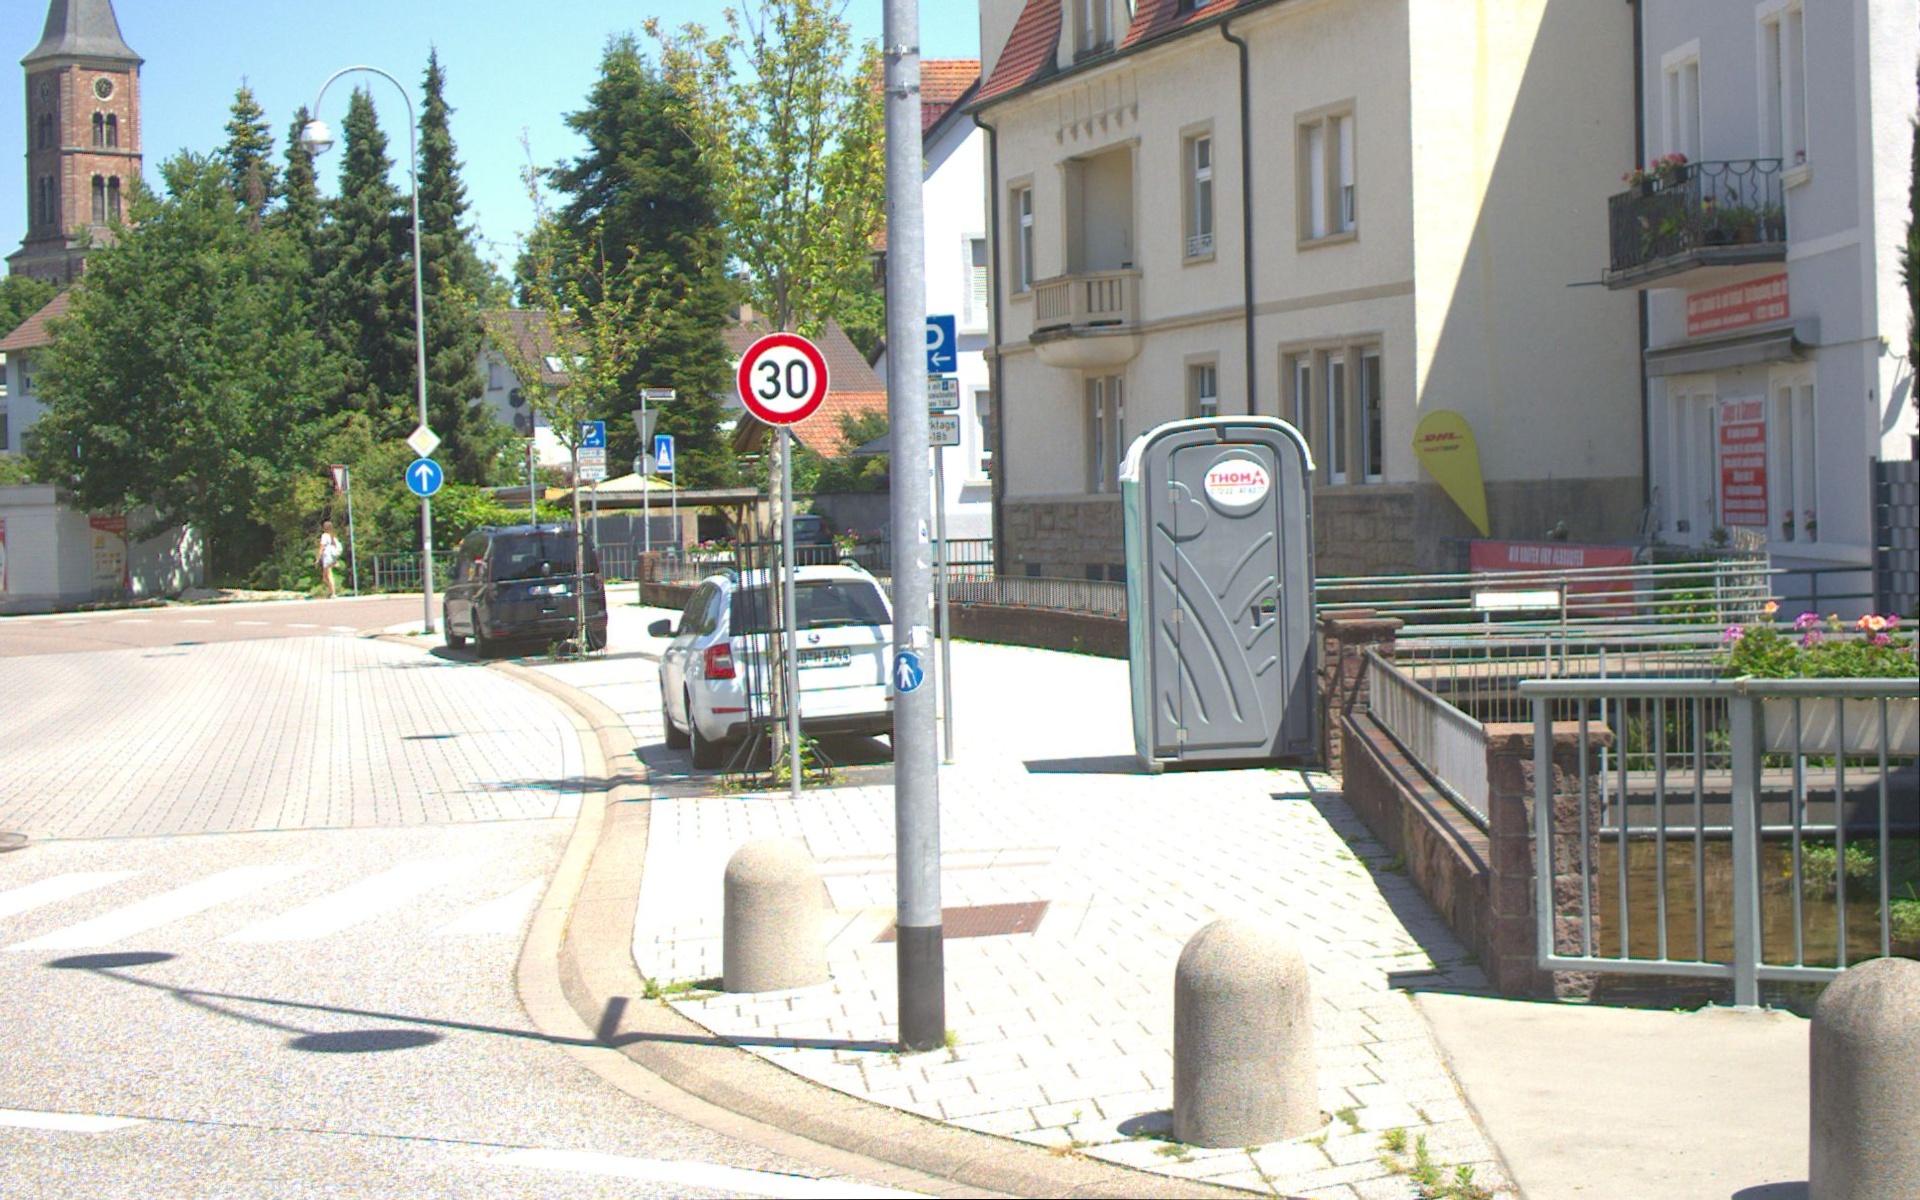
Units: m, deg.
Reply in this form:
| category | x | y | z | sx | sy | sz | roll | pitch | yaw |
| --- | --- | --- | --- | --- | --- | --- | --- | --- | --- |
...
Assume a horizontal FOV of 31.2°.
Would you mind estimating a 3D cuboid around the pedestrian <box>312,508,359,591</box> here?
| category | x | y | z | sx | sy | sz | roll | pitch | yaw |
| --- | --- | --- | --- | --- | --- | --- | --- | --- | --- |
| pedestrian | -13.827 | -1.121 | 76.156 | 0.549 | 1.808 | 0.843 | 3 | 4 | 44 |

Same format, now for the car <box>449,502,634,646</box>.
| category | x | y | z | sx | sy | sz | roll | pitch | yaw |
| --- | --- | --- | --- | --- | --- | --- | --- | --- | --- |
| car | -6.082 | -0.423 | 49.569 | 1.993 | 1.858 | 4.289 | -1 | 3 | -16 |

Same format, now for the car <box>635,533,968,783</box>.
| category | x | y | z | sx | sy | sz | roll | pitch | yaw |
| --- | --- | --- | --- | --- | --- | --- | --- | --- | --- |
| car | -1.326 | 0.370 | 26.745 | 1.993 | 1.579 | 4.288 | -6 | 2 | -9 |
